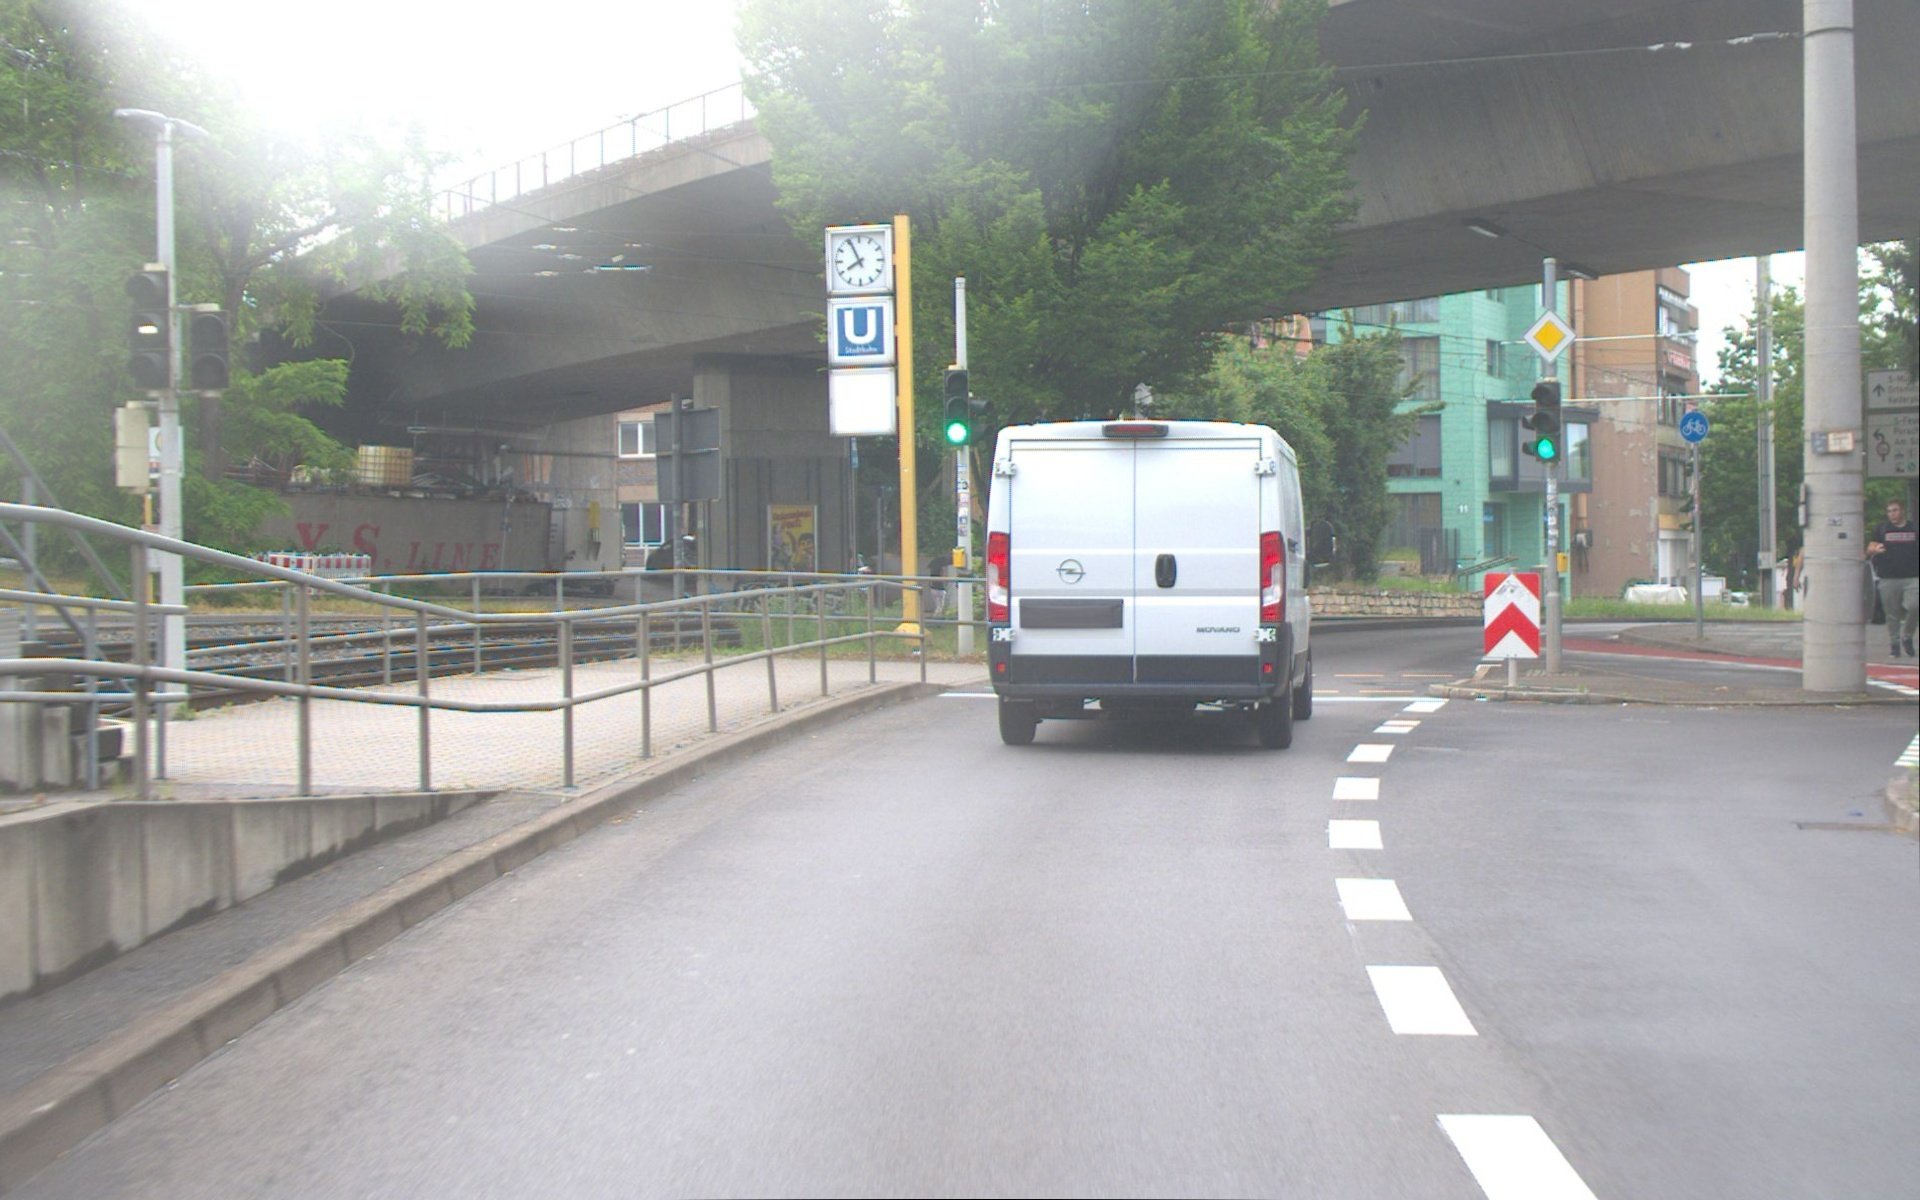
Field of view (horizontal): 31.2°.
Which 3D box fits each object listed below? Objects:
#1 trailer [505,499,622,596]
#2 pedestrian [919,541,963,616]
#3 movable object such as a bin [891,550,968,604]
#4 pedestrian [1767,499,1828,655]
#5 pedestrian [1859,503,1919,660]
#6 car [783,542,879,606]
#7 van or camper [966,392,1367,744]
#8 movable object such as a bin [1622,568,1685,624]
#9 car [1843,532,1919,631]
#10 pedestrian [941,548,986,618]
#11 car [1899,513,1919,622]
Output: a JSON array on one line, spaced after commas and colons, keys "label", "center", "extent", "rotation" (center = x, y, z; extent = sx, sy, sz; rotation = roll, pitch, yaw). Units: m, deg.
[{"label": "trailer", "center": [-11.468, -1.507, 99.222], "extent": [1.993, 2.716, 4.124], "rotation": [1, 0, -27]}, {"label": "pedestrian", "center": [-0.466, -0.524, 83.710], "extent": [0.694, 1.824, 0.865], "rotation": [1, 1, 31]}, {"label": "movable object such as a bin", "center": [-0.880, -0.652, 98.201], "extent": [1.556, 1.474, 1.803], "rotation": [1, 2, -25]}, {"label": "pedestrian", "center": [9.904, -0.270, 40.673], "extent": [0.626, 1.802, 0.835], "rotation": [2, 0, 13]}, {"label": "pedestrian", "center": [11.082, -0.218, 40.551], "extent": [0.597, 1.816, 0.910], "rotation": [2, 0, -4]}, {"label": "car", "center": [-3.723, -0.756, 98.685], "extent": [1.713, 1.662, 3.199], "rotation": [2, 2, -21]}, {"label": "van or camper", "center": [1.619, -0.207, 24.956], "extent": [2.200, 2.245, 4.681], "rotation": [2, 0, 11]}, {"label": "movable object such as a bin", "center": [28.144, -0.175, 139.541], "extent": [2.136, 2.149, 1.800], "rotation": [2, 1, 22]}, {"label": "car", "center": [16.000, -0.283, 54.442], "extent": [3.723, 1.517, 1.803], "rotation": [0, 0, -31]}, {"label": "pedestrian", "center": [0.079, -0.417, 82.926], "extent": [0.695, 1.664, 0.886], "rotation": [1, 1, 33]}, {"label": "car", "center": [16.342, -0.461, 51.830], "extent": [4.010, 1.625, 1.967], "rotation": [0, 0, -31]}]
